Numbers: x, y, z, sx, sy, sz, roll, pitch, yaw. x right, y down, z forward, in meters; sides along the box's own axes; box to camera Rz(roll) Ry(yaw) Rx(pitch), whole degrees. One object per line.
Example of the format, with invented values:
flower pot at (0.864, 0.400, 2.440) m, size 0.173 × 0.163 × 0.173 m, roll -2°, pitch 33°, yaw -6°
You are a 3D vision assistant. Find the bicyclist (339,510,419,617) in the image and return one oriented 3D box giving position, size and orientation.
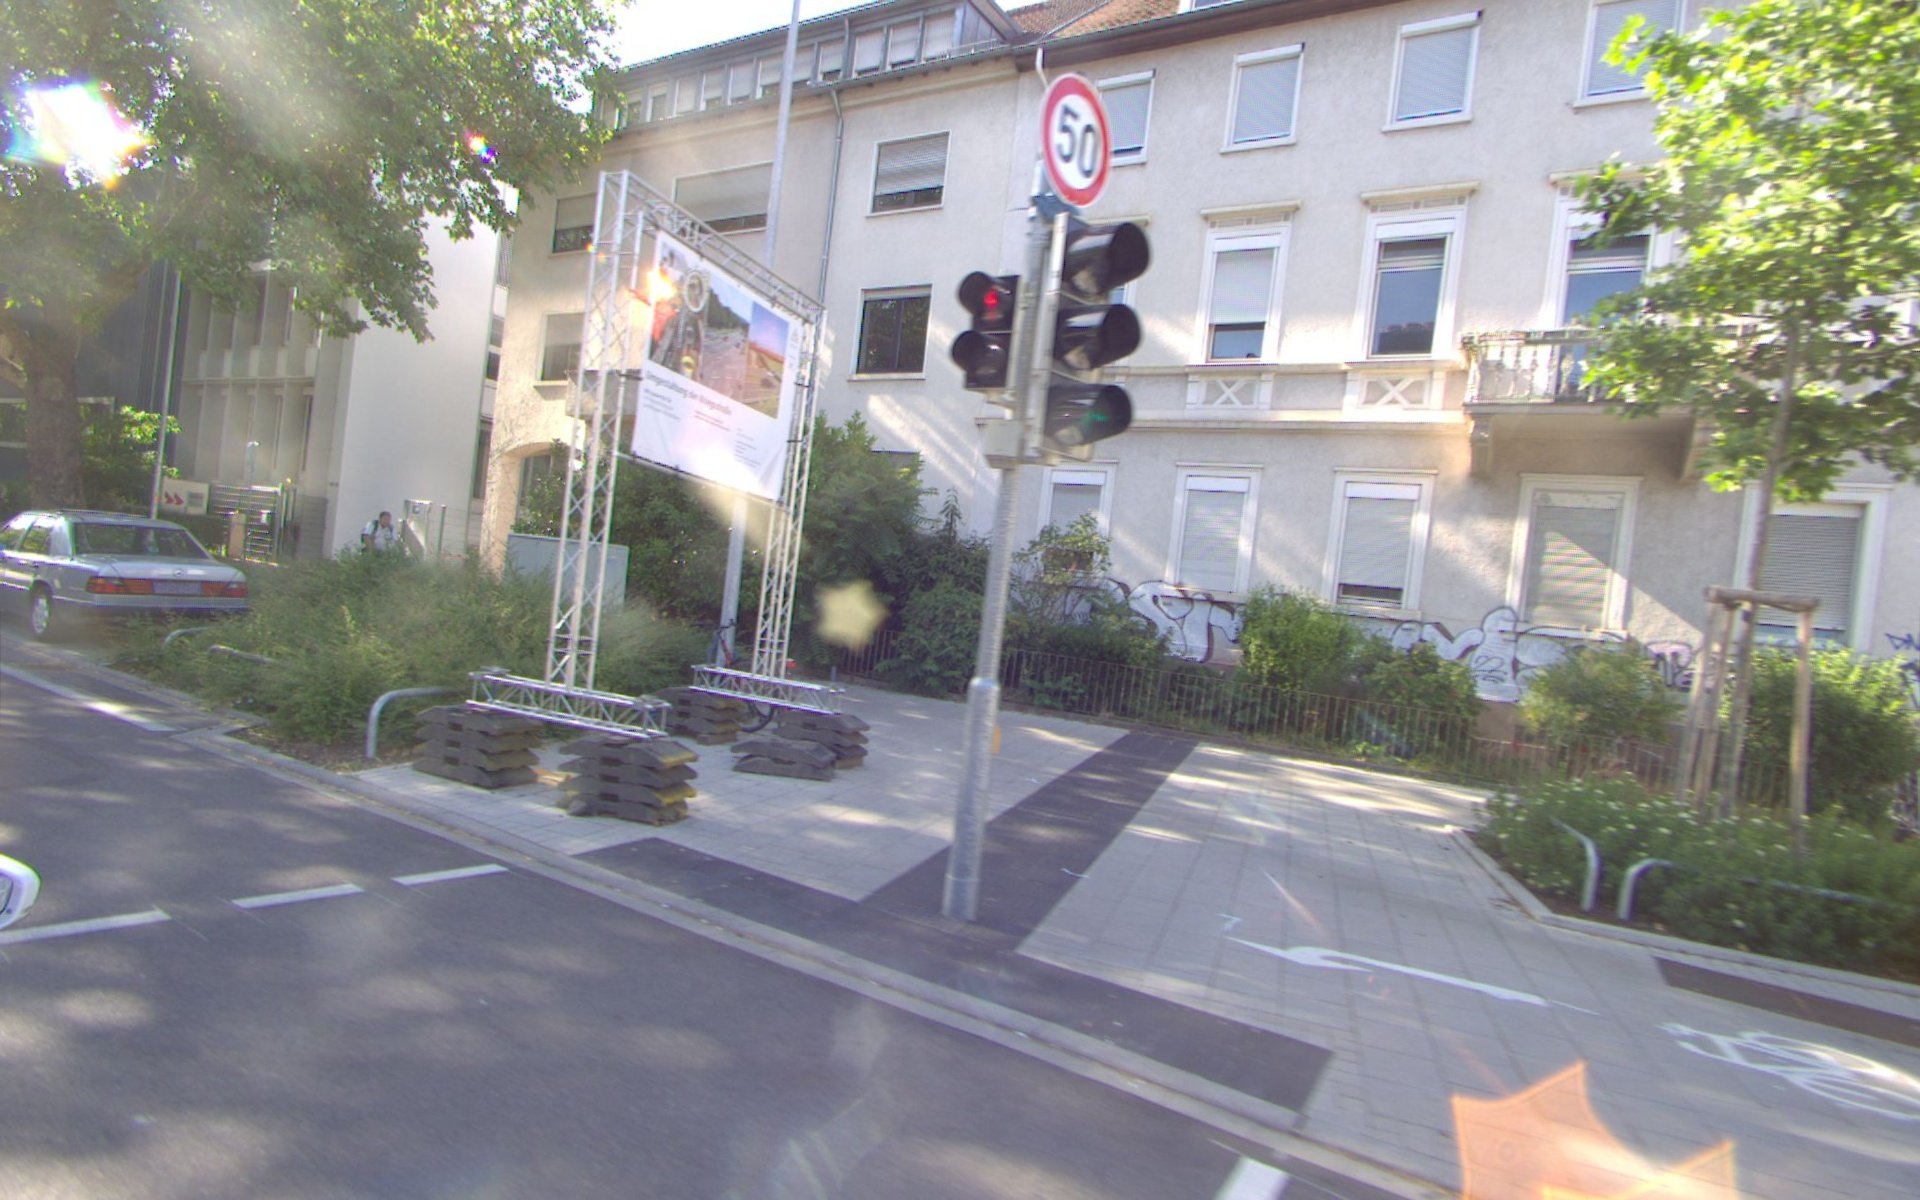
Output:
bicyclist at (-10.894, -0.680, 18.853) m, size 1.053 × 1.843 × 0.725 m, roll 7°, pitch 0°, yaw 32°

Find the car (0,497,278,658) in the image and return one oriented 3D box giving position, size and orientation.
car at (-10.730, -0.370, 12.349) m, size 4.858 × 1.497 × 1.855 m, roll 7°, pitch -1°, yaw 30°

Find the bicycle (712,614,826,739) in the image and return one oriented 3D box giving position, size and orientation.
bicycle at (-2.013, 0.737, 10.352) m, size 0.581 × 1.017 × 2.119 m, roll 7°, pitch -1°, yaw -24°
